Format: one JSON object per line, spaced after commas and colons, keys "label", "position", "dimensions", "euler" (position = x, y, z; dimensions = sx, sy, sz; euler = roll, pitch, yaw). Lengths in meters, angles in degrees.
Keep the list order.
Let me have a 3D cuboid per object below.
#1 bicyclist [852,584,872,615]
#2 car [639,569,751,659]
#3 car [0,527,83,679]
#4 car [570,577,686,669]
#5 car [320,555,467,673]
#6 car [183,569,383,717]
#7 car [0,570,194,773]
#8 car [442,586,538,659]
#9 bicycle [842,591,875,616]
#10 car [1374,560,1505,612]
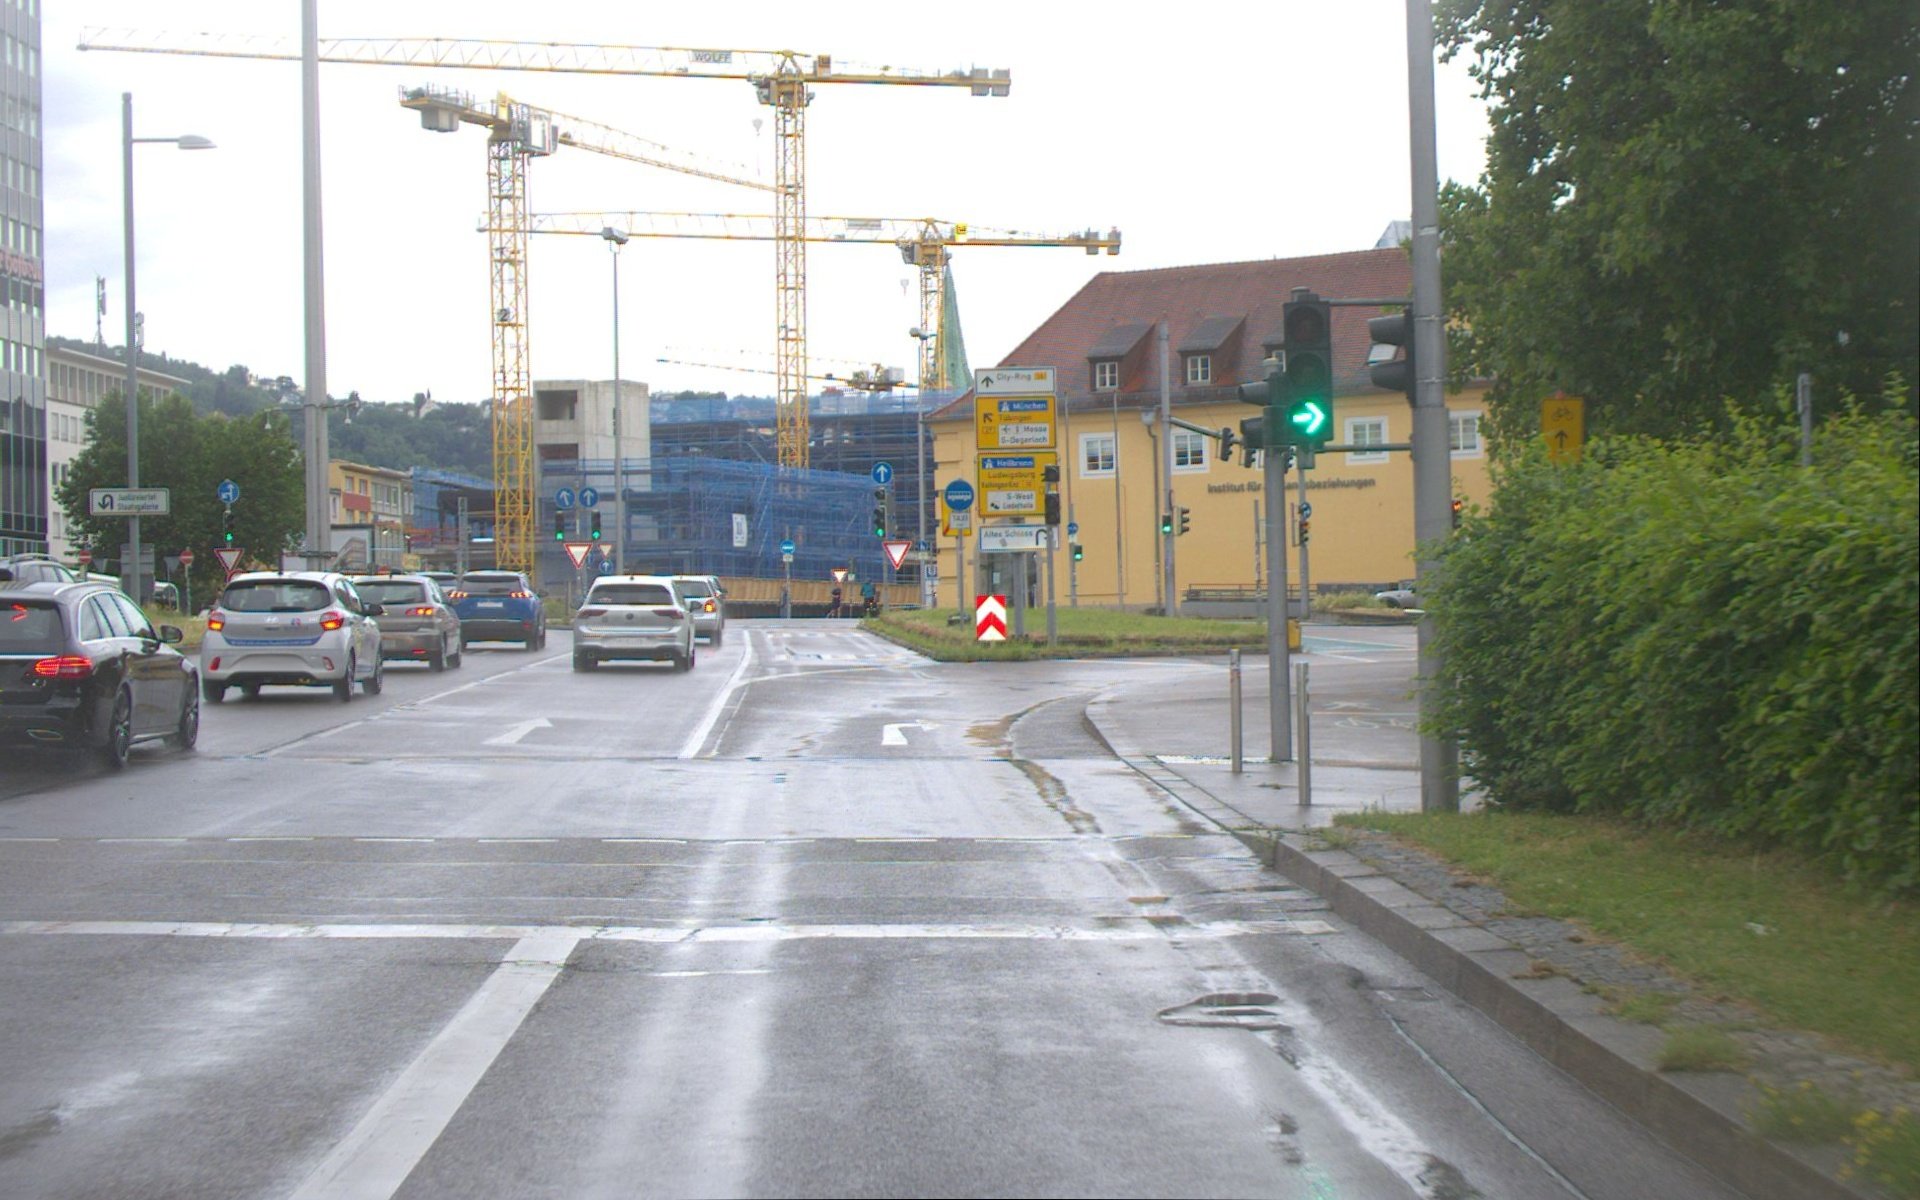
{"label": "bicyclist", "position": [-4.079, -0.005, 142.910], "dimensions": [0.703, 1.271, 0.635], "euler": [0, -1, -17]}
{"label": "car", "position": [-5.594, 0.277, 72.895], "dimensions": [1.668, 1.735, 3.286], "euler": [1, 2, 9]}
{"label": "car", "position": [-11.275, 0.050, 40.065], "dimensions": [1.464, 1.700, 3.141], "euler": [0, -1, -3]}
{"label": "car", "position": [-4.995, 0.352, 51.928], "dimensions": [1.444, 1.354, 2.412], "euler": [0, -1, 2]}
{"label": "car", "position": [-8.487, 0.225, 51.759], "dimensions": [1.716, 1.721, 3.494], "euler": [0, -1, -1]}
{"label": "car", "position": [-7.858, 0.495, 40.193], "dimensions": [1.880, 1.647, 3.458], "euler": [0, -1, -4]}
{"label": "car", "position": [-7.311, 0.543, 26.938], "dimensions": [1.830, 1.489, 3.399], "euler": [0, -1, 1]}
{"label": "car", "position": [-8.992, 0.444, 65.930], "dimensions": [1.493, 1.365, 3.033], "euler": [0, -1, -2]}
{"label": "bicycle", "position": [-4.227, 0.143, 143.158], "dimensions": [0.880, 1.006, 1.993], "euler": [0, -1, -17]}
{"label": "car", "position": [13.935, -0.396, 99.900], "dimensions": [3.406, 1.477, 1.832], "euler": [0, -1, 25]}
